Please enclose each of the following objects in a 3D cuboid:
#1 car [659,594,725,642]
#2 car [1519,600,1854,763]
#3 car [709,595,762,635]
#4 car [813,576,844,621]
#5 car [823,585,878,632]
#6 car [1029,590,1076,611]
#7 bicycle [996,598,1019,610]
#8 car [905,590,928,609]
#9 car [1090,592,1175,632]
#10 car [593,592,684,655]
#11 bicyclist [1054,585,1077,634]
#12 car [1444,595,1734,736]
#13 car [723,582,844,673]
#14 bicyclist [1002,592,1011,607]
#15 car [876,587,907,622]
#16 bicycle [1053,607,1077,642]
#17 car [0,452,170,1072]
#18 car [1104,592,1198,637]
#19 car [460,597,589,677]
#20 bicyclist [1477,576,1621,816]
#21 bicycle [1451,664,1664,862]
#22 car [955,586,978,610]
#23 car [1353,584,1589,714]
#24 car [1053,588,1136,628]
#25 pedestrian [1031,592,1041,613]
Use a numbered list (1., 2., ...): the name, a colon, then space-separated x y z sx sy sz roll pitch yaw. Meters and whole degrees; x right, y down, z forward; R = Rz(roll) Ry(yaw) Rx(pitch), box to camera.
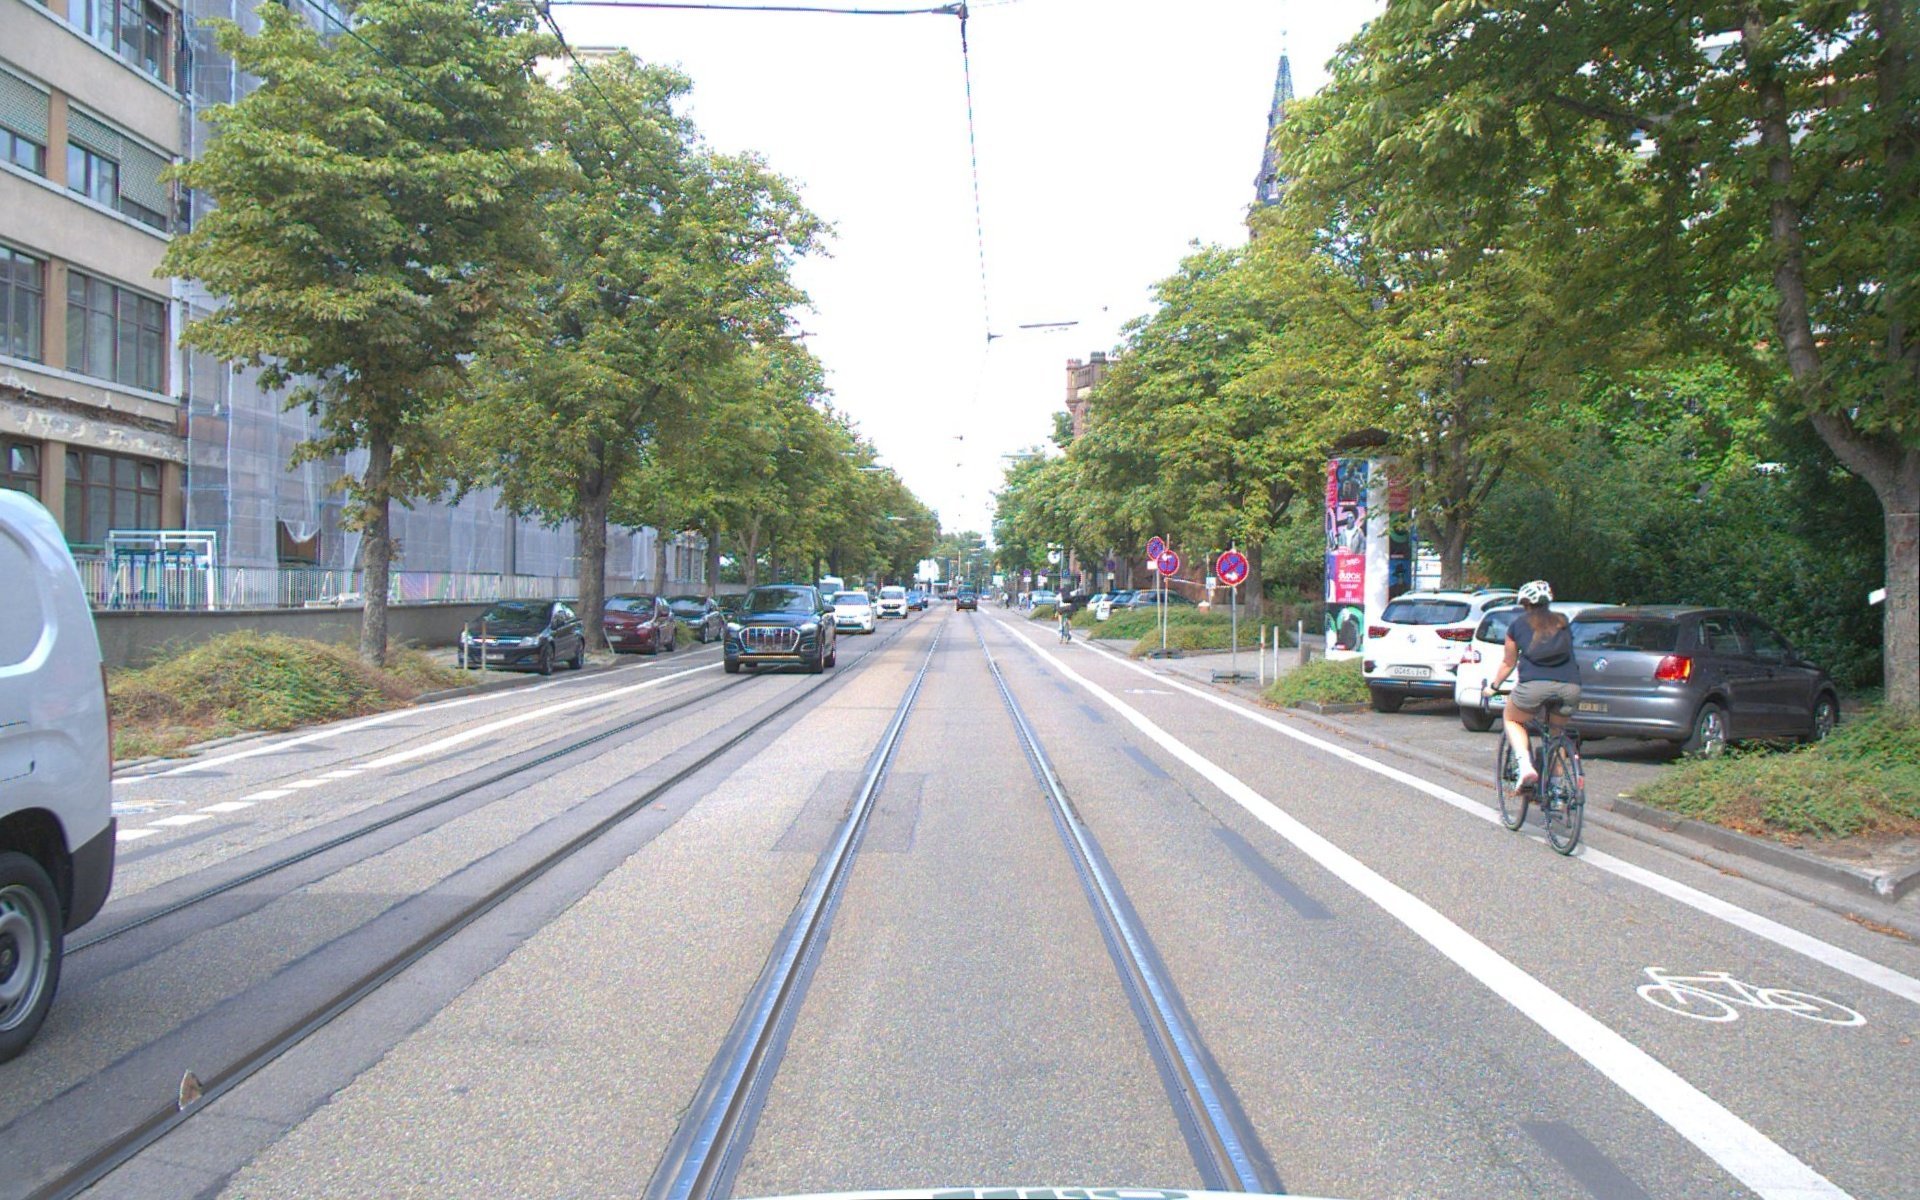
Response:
1. car: -8.381 0.537 51.972 1.558 1.427 3.961 1 0 -2
2. car: 7.301 0.742 16.500 3.612 1.444 1.658 1 0 -40
3. car: -8.411 0.541 62.284 1.558 1.427 3.961 1 0 -2
4. car: -8.416 -0.115 106.348 1.686 2.751 5.468 1 0 -2
5. car: -3.910 0.287 59.711 1.697 1.640 4.334 0 0 0
6. car: 8.083 0.041 144.864 3.910 1.722 1.998 1 0 -6
7. bicycle: 4.819 0.416 167.014 2.226 1.210 0.769 1 0 7
8. car: -3.435 -0.050 131.406 1.697 1.522 4.378 0 1 0
9. car: 7.149 0.503 68.483 1.654 1.630 3.621 0 0 44
10. car: -8.266 0.565 42.773 1.602 1.522 3.962 1 0 -1
11. bicyclist: 3.295 0.285 51.869 0.645 1.522 0.929 1 0 0
12. car: 7.432 0.718 19.430 3.612 1.500 1.658 1 0 -40
13. car: -3.361 0.489 32.278 1.809 1.640 4.334 1 0 1
14. bicyclist: 4.670 -0.046 167.031 0.828 1.531 0.769 1 0 7
15. car: -3.864 0.234 93.644 1.697 1.917 4.376 1 0 -2
16. bicycle: 3.284 0.758 51.862 0.650 1.062 1.841 1 0 0
17. car: -3.722 0.481 3.629 1.758 1.855 4.677 1 0 -1
18. car: 7.150 0.527 61.685 1.654 1.630 3.621 0 0 44
19. car: -8.383 0.676 32.112 1.558 1.427 3.961 1 0 -2
20. bicyclist: 3.795 0.594 10.706 0.581 1.485 0.875 1 0 -2
21. bicycle: 3.787 0.992 10.658 0.581 1.062 1.977 1 0 -2
22. car: 0.516 -0.153 133.846 1.758 1.855 4.677 1 0 -1
23. car: 7.045 0.634 22.640 1.654 1.630 3.621 0 0 44
24. car: 5.763 0.352 70.611 1.654 1.630 3.621 0 0 44
25. pedestrian: 6.680 0.235 144.606 0.732 1.821 0.731 1 -1 15
